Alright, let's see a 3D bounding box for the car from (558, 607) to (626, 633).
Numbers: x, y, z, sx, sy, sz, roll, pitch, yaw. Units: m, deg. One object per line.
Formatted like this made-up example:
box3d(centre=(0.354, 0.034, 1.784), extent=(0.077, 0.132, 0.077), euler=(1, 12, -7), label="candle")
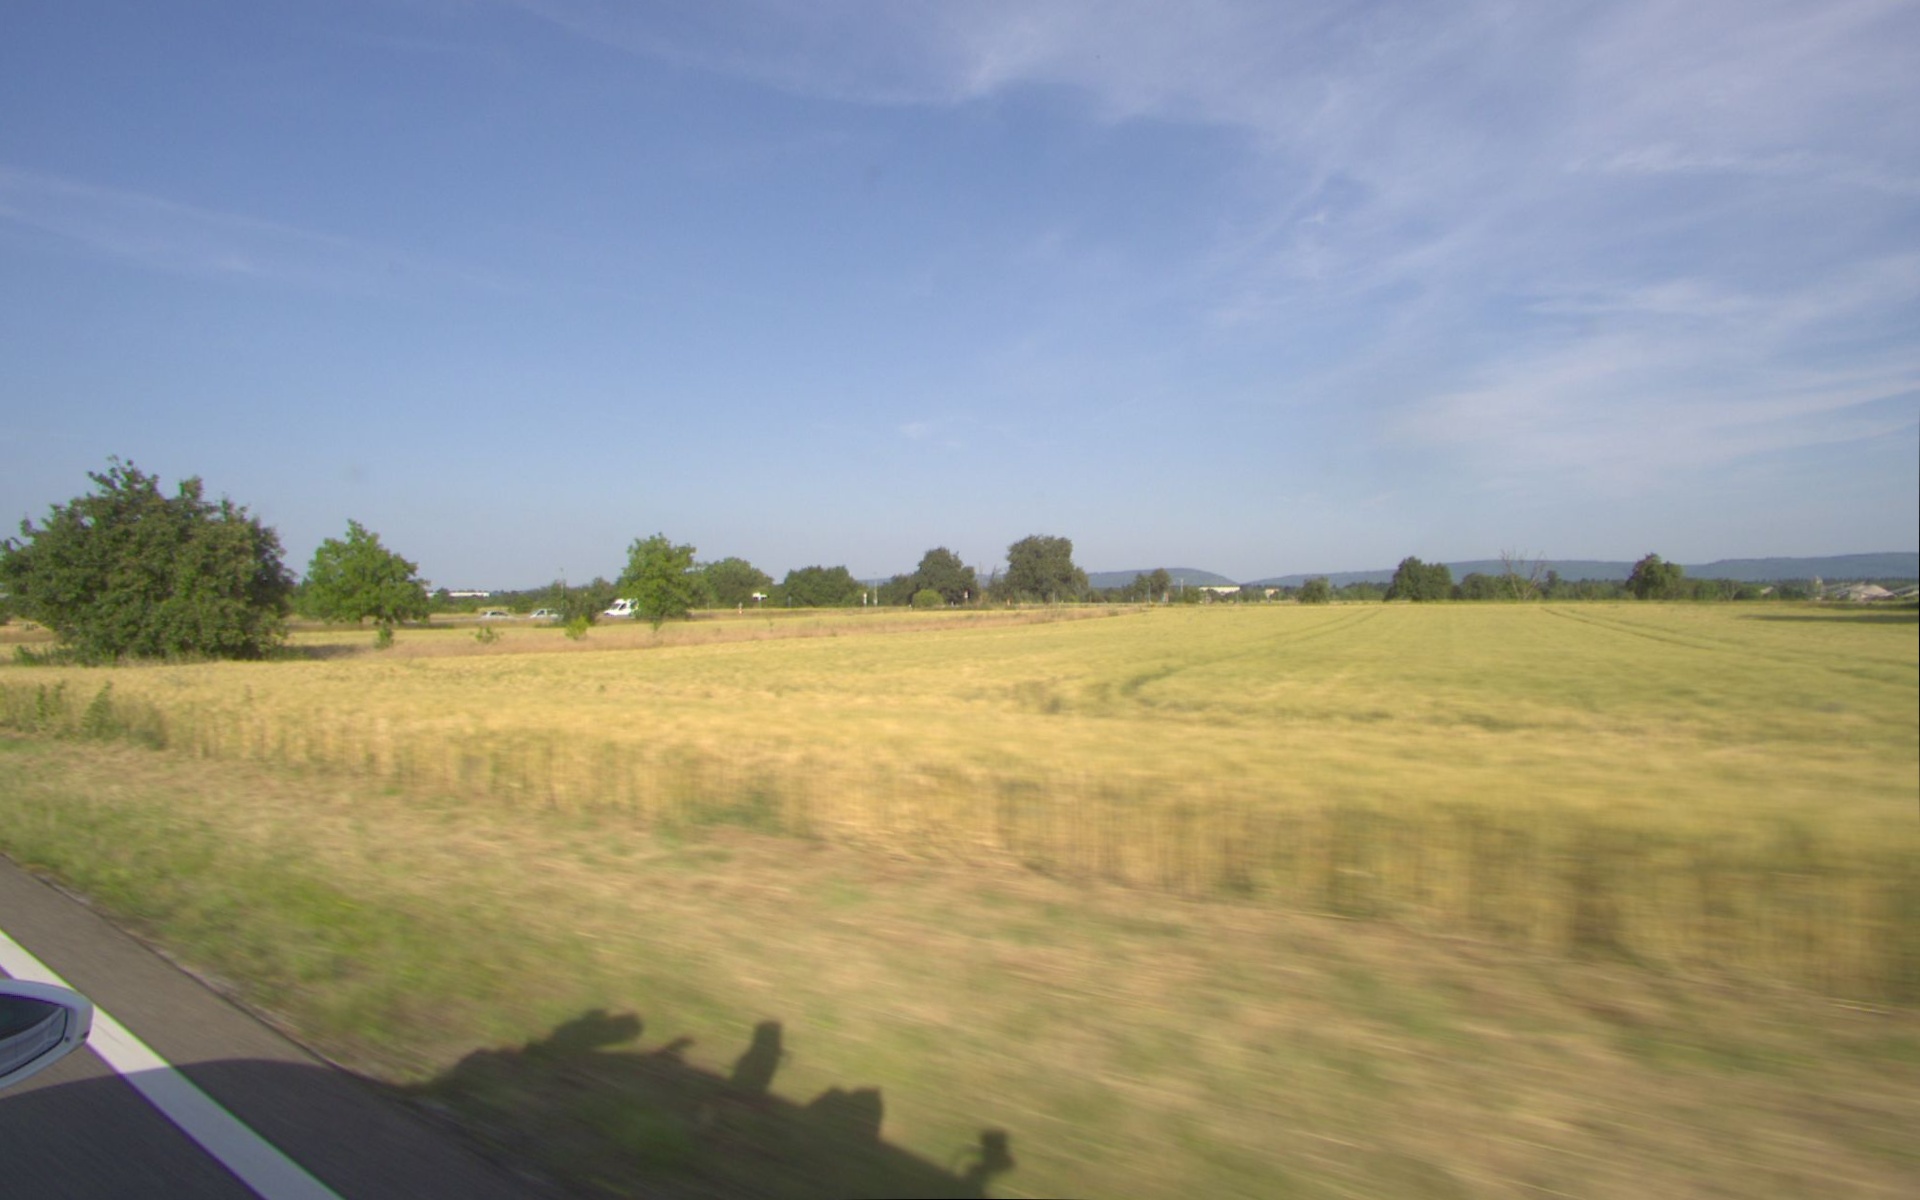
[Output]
box3d(centre=(-41.376, 2.277, 112.843), extent=(2.293, 2.831, 6.986), euler=(-1, -2, 41), label="car")
